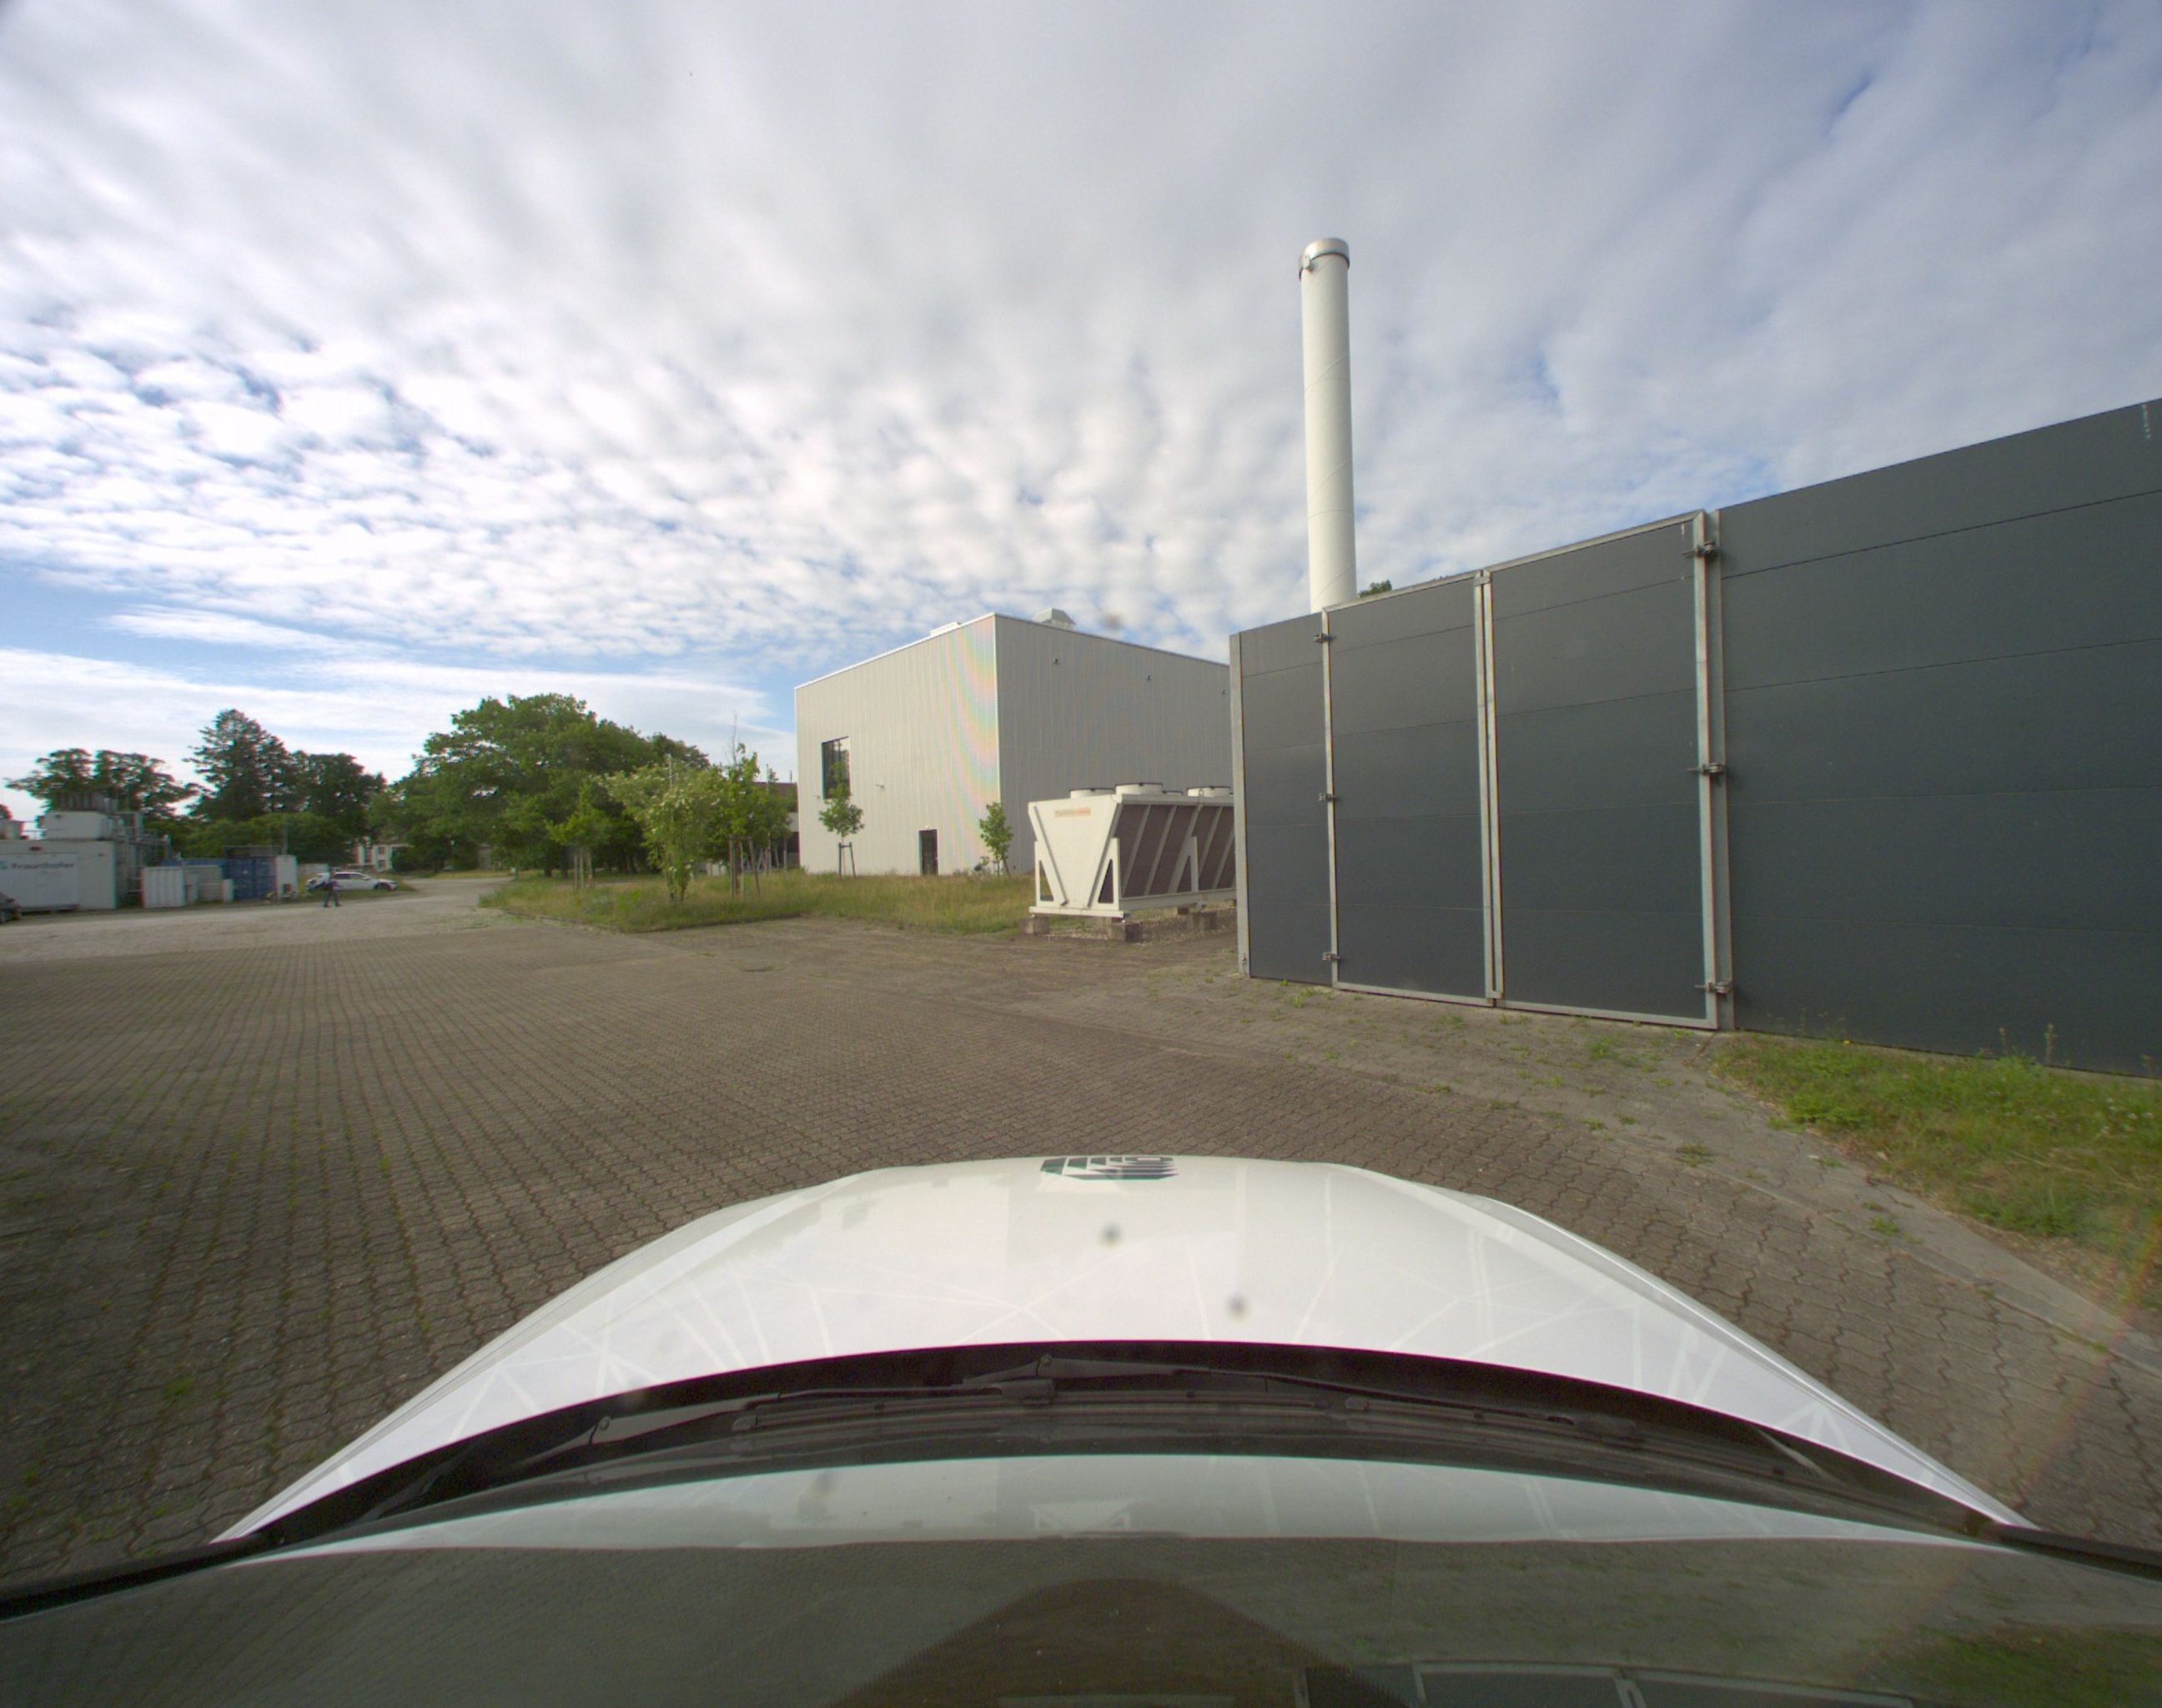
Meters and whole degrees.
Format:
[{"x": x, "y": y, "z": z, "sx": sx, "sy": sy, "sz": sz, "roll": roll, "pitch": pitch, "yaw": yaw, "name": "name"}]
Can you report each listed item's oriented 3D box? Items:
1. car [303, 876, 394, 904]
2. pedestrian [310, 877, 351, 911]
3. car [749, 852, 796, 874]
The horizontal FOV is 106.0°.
[{"x": -50.449, "y": 2.433, "z": 56.234, "sx": 4.574, "sy": 1.599, "sz": 1.976, "roll": -3, "pitch": 1, "yaw": -41, "name": "car"}, {"x": -36.243, "y": 1.913, "z": 39.337, "sx": 1.079, "sy": 1.556, "sz": 1.068, "roll": -3, "pitch": 0, "yaw": -20, "name": "pedestrian"}, {"x": -30.093, "y": 0.896, "z": 79.409, "sx": 2.262, "sy": 2.013, "sz": 5.270, "roll": -3, "pitch": 1, "yaw": -45, "name": "car"}]
